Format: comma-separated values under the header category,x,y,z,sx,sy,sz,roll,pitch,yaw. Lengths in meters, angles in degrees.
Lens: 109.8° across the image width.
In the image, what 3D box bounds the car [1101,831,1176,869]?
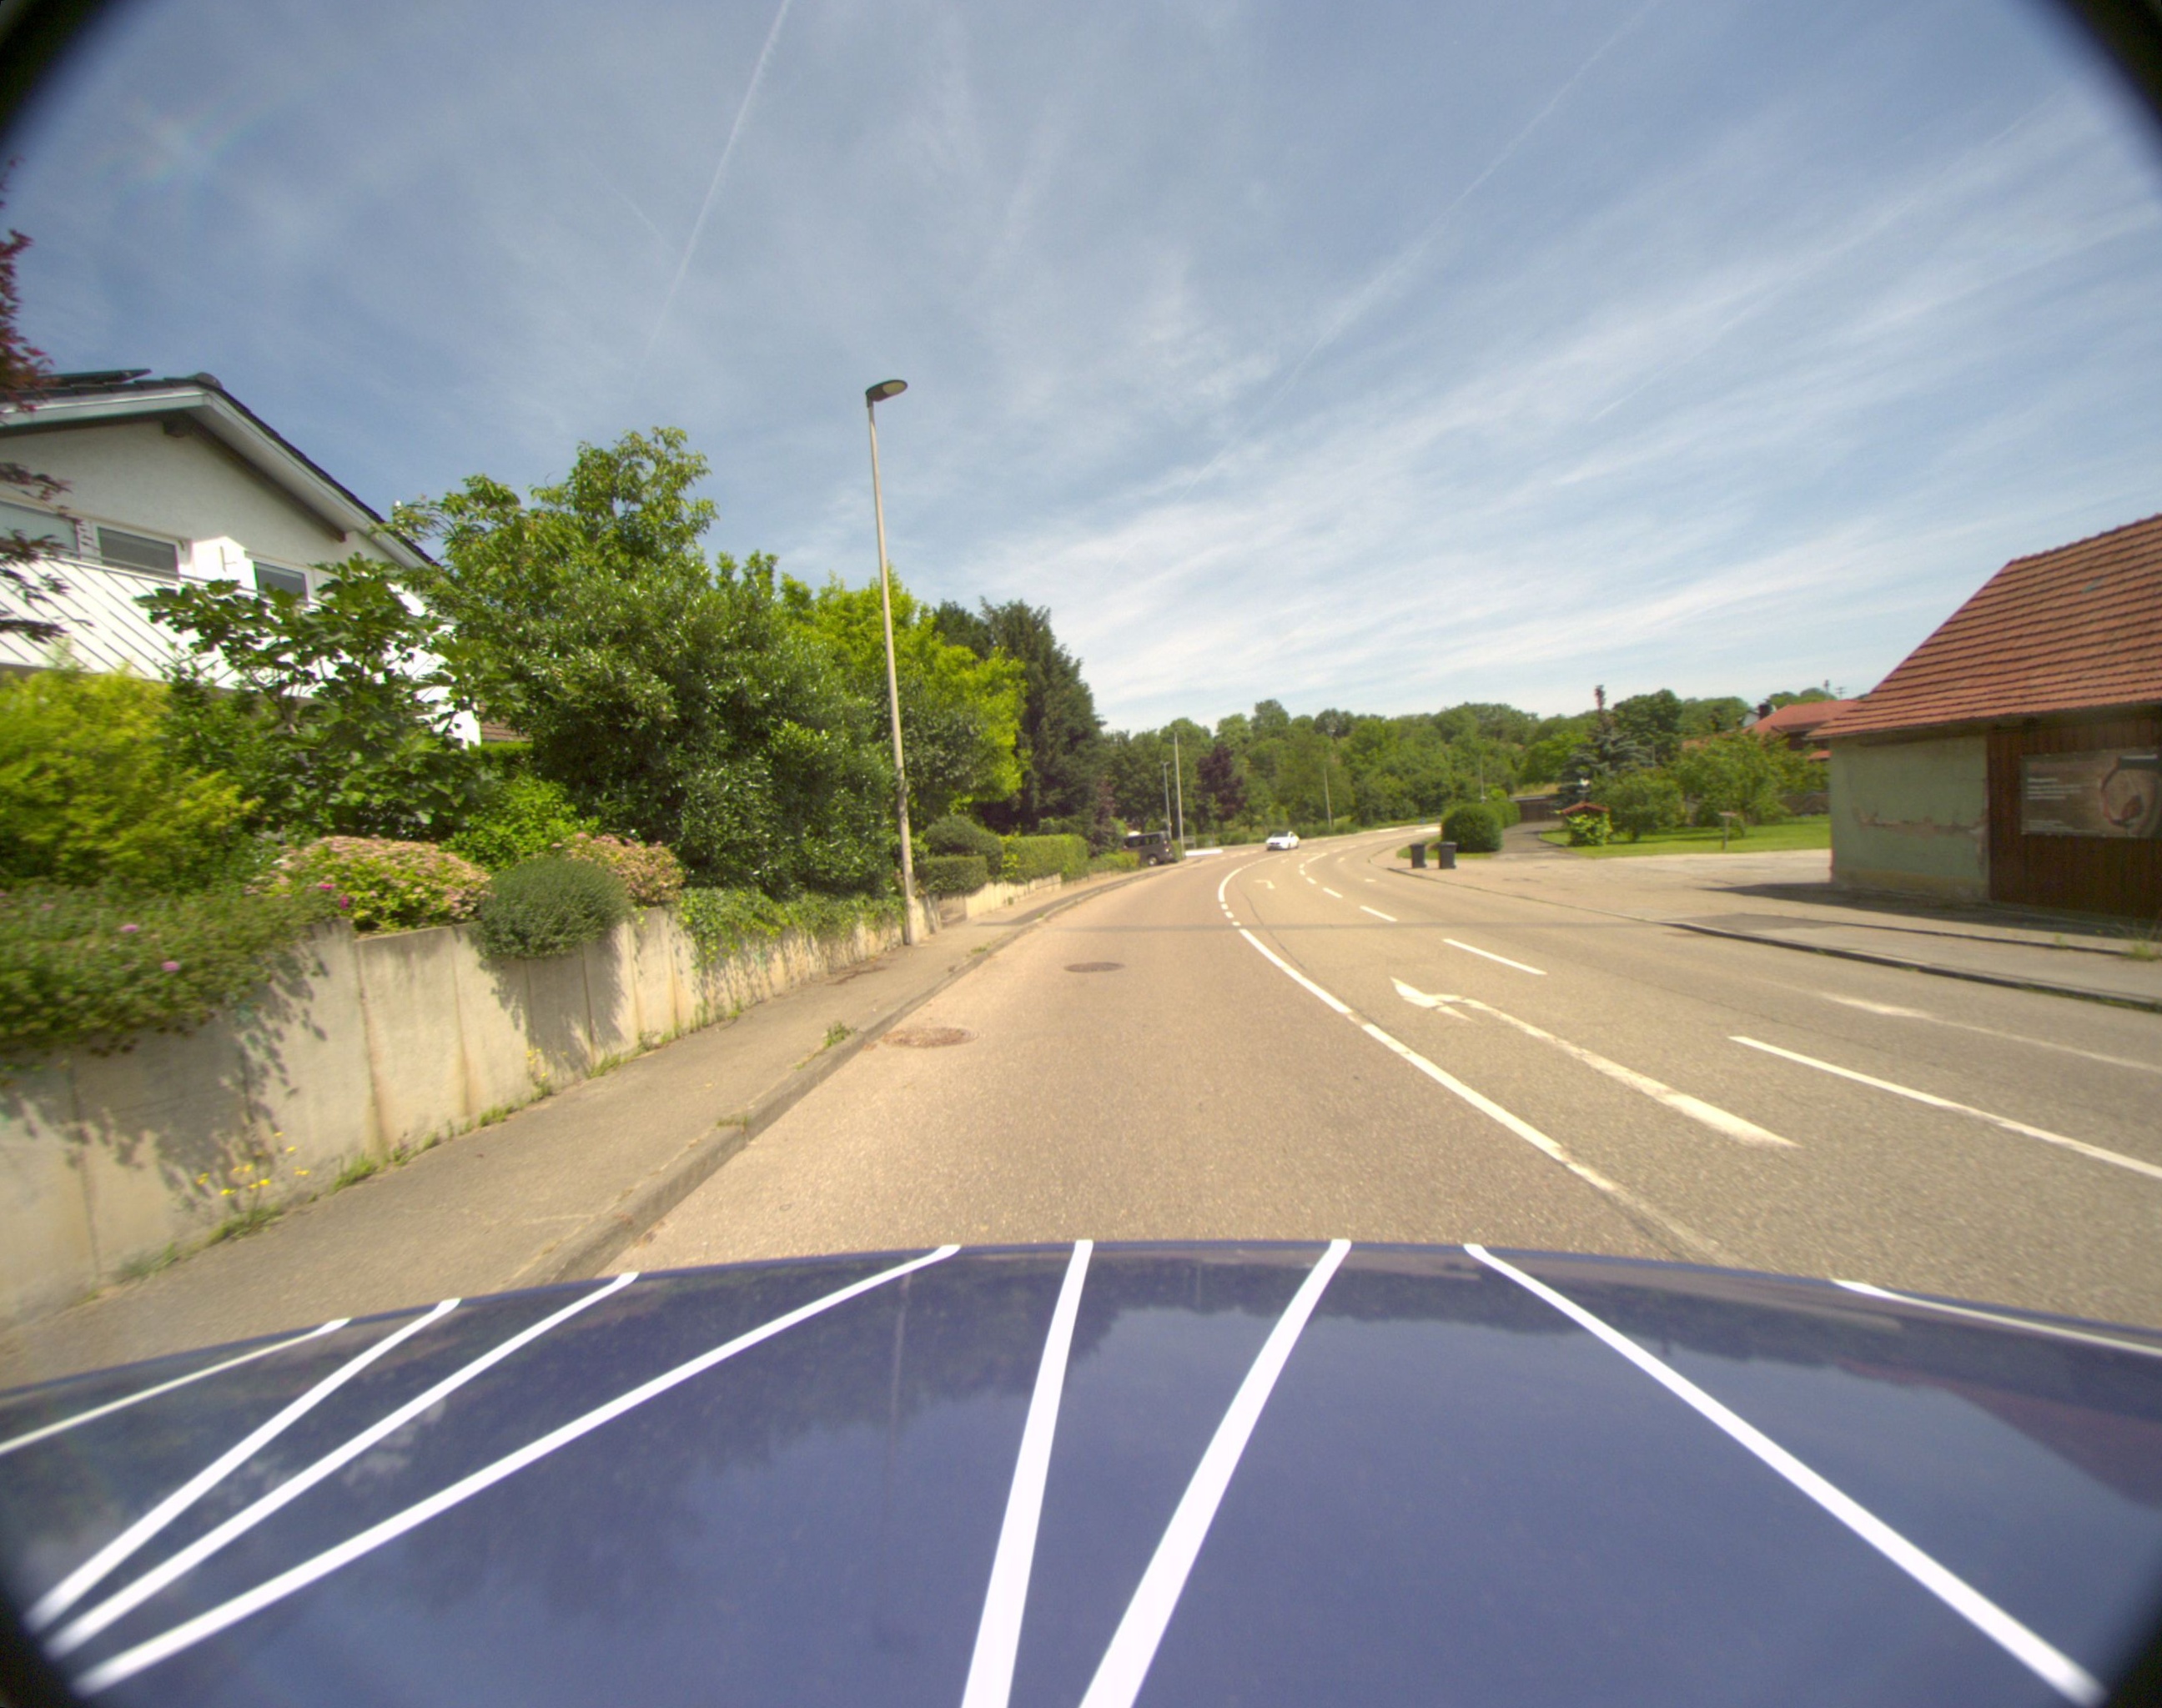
category,x,y,z,sx,sy,sz,roll,pitch,yaw
car,3.404,-0.245,44.637,3.903,1.938,1.958,-4,1,19

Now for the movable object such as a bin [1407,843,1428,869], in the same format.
category,x,y,z,sx,sy,sz,roll,pitch,yaw
movable object such as a bin,14.094,0.088,31.822,0.554,1.075,0.541,-4,1,-7

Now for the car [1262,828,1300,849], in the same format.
category,x,y,z,sx,sy,sz,roll,pitch,yaw
car,16.341,-1.273,61.940,1.823,1.543,4.006,-4,1,31

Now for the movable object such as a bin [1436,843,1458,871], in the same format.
category,x,y,z,sx,sy,sz,roll,pitch,yaw
movable object such as a bin,14.521,0.124,30.173,0.535,1.044,0.541,-4,1,-7
